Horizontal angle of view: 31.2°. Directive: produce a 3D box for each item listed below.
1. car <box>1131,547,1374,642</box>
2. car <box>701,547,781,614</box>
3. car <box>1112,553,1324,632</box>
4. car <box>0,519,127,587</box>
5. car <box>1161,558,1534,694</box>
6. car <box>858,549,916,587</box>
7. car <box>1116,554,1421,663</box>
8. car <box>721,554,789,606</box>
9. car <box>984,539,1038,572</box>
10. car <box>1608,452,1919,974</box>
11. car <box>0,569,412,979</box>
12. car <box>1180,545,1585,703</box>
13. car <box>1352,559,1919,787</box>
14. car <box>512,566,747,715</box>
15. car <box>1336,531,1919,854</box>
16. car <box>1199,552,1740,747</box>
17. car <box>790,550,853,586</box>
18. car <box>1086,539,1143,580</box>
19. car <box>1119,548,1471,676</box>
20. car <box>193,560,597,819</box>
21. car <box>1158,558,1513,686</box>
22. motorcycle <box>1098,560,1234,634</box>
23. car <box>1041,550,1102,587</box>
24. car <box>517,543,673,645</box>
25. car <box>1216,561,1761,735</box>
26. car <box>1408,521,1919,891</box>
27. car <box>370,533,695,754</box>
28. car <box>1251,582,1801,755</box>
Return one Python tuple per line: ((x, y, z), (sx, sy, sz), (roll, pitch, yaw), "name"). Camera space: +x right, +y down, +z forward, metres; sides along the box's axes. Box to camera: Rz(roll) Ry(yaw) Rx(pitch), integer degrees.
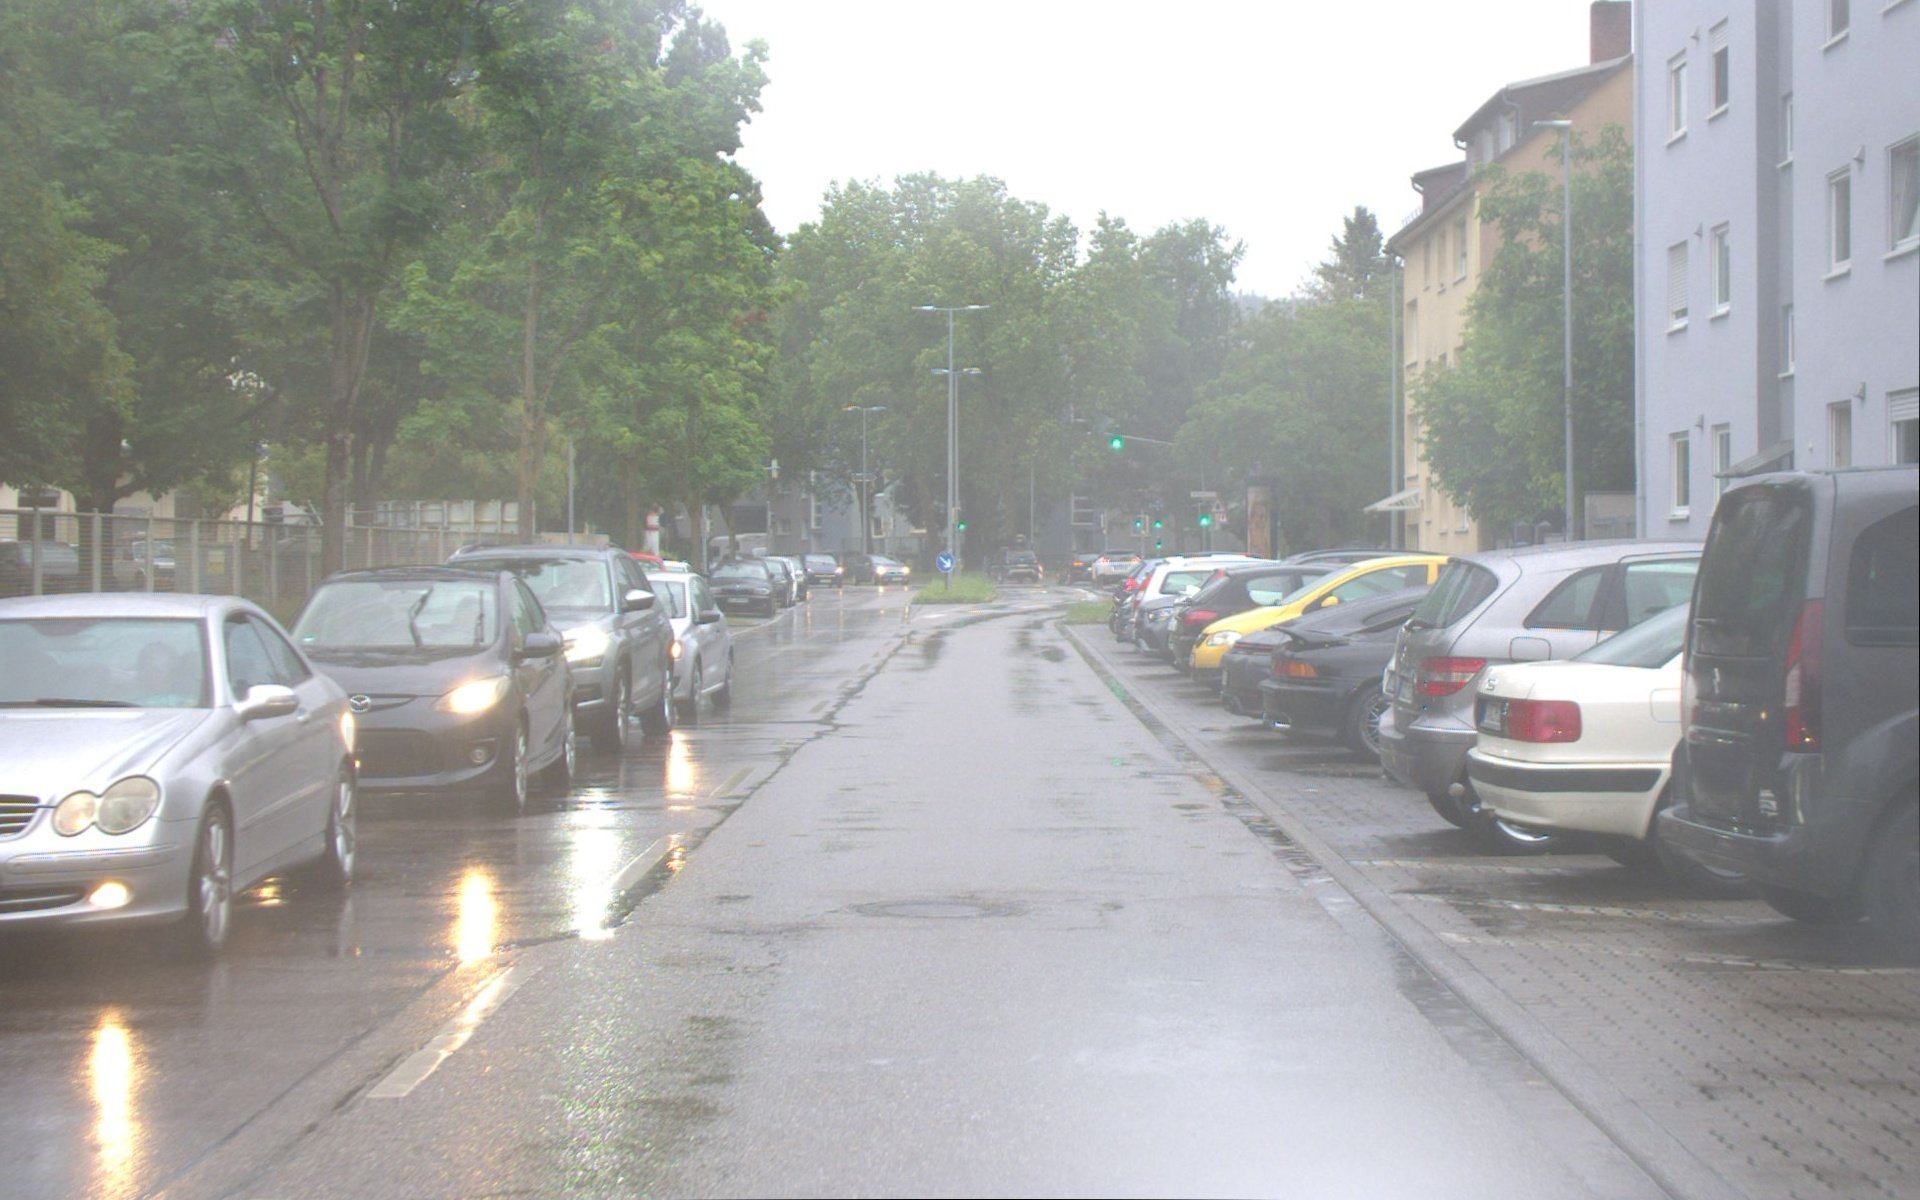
((5.022, -0.094, 59.404), (3.987, 1.547, 1.905), (1, 0, -1), "car")
((-5.491, -0.505, 85.856), (1.775, 1.524, 4.001), (1, 2, -7), "car")
((4.972, -0.150, 66.742), (3.987, 1.456, 1.934), (1, 0, 1), "car")
((-19.657, -1.027, 75.297), (1.705, 1.429, 3.650), (1, 0, -31), "car")
((4.325, 0.282, 38.826), (3.987, 1.437, 1.782), (1, 0, 0), "car")
((-3.402, -1.487, 158.640), (1.740, 1.683, 4.001), (1, 0, -15), "car")
((4.447, 0.102, 49.531), (4.270, 1.449, 1.984), (1, 2, 6), "car")
((-5.977, -0.587, 100.667), (1.928, 1.479, 4.001), (0, 1, -3), "car")
((2.334, -2.045, 158.219), (1.849, 1.519, 4.001), (0, 1, -9), "car")
((4.771, 0.365, 12.952), (4.231, 1.799, 1.945), (-1, 0, -3), "car")
((-3.526, 0.585, 14.361), (1.774, 1.398, 4.830), (1, 0, -1), "car")
((4.400, 0.239, 36.214), (3.987, 1.547, 1.853), (1, 0, -1), "car")
((4.692, 0.462, 23.117), (3.854, 1.449, 1.837), (0, 1, -1), "car")
((-3.240, 0.361, 34.401), (1.672, 1.378, 4.251), (0, 1, 4), "car")
((4.195, 0.468, 18.126), (4.181, 1.566, 1.890), (1, 0, 0), "car")
((4.119, 0.389, 28.327), (4.143, 1.481, 2.013), (1, 0, 0), "car")
((-6.013, -1.396, 148.624), (1.993, 1.480, 4.001), (1, 0, -13), "car")
((5.804, -1.518, 129.422), (1.849, 1.519, 4.000), (0, 1, -2), "car")
((4.290, 0.145, 44.570), (4.341, 1.547, 2.040), (1, 0, 0), "car")
((-3.411, 0.480, 21.518), (1.779, 1.415, 4.265), (0, 1, 1), "car")
((4.465, 0.246, 41.430), (4.097, 1.453, 2.000), (1, 1, 2), "car")
((3.817, -0.055, 63.882), (2.398, 1.319, 0.920), (1, 0, -4), "motorcycle")
((4.648, -1.327, 143.633), (1.849, 1.519, 4.155), (0, 1, -8), "car")
((-5.493, -0.102, 52.142), (1.661, 1.455, 4.173), (1, 0, 3), "car")
((4.668, 0.406, 30.940), (4.628, 1.431, 2.000), (1, 0, 2), "car")
((4.255, 0.444, 15.512), (4.189, 1.563, 1.889), (0, 0, -1), "car")
((-3.412, 0.311, 28.362), (1.914, 1.634, 4.821), (1, 0, 2), "car")
((4.158, 0.486, 25.786), (3.854, 1.203, 1.956), (0, 1, 3), "car")
